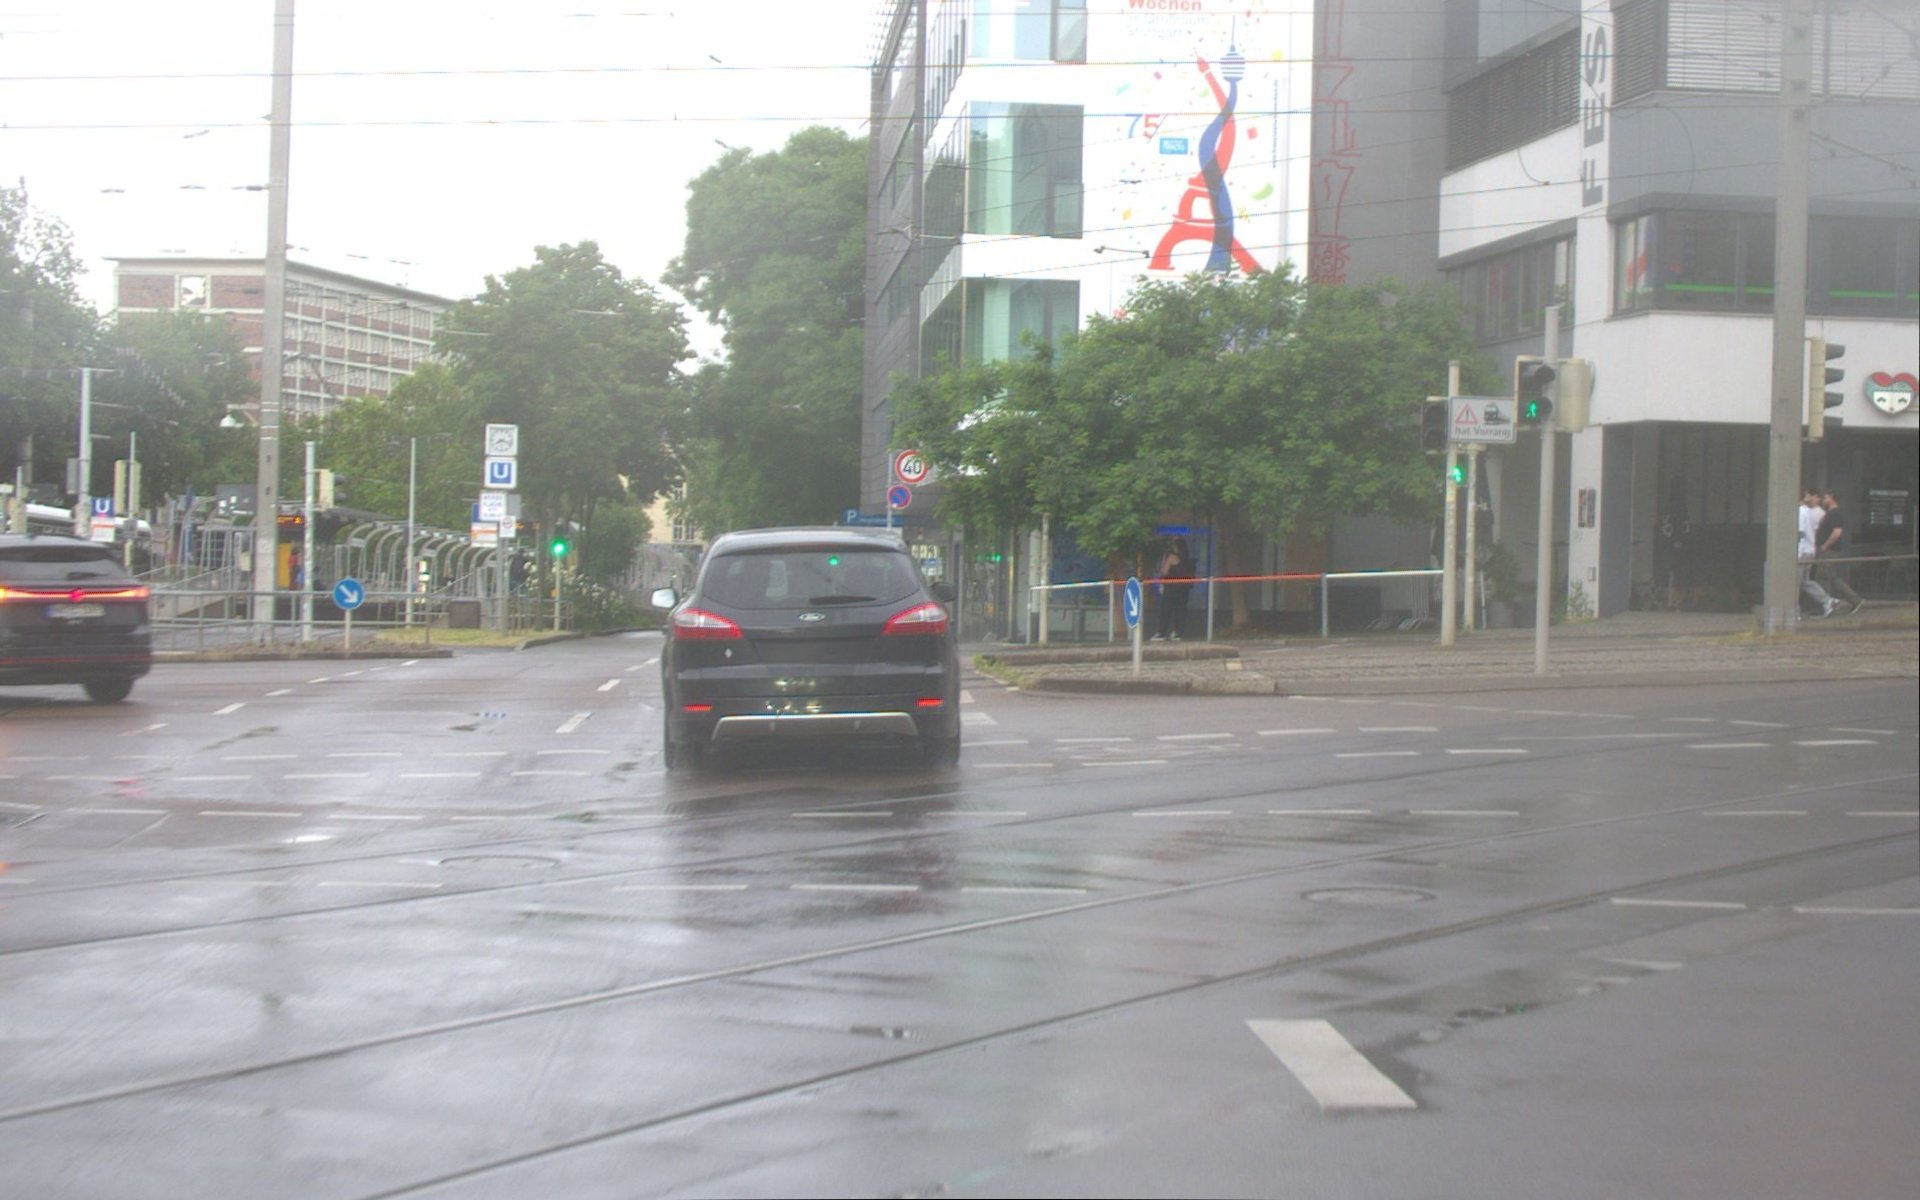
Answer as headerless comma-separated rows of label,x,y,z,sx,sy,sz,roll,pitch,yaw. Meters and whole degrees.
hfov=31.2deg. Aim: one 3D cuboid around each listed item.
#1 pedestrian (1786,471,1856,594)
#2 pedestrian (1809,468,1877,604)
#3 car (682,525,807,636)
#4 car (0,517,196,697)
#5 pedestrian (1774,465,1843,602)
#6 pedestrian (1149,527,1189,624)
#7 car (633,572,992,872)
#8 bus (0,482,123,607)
pedestrian,12.396,-0.979,49.475,0.719,1.755,0.696,1,2,42
pedestrian,12.509,-0.916,48.695,0.718,1.907,0.696,1,2,35
car,-3.861,-0.381,62.176,2.036,1.833,4.393,1,2,-1
car,-8.974,0.003,31.130,2.099,1.500,4.730,-1,2,-39
pedestrian,11.885,-0.936,48.139,0.718,1.907,0.696,1,2,35
pedestrian,3.389,-0.403,55.722,0.542,1.558,0.521,0,1,17
car,-0.961,0.690,22.043,2.035,1.579,4.393,1,2,-3
bus,-26.458,-1.637,97.162,3.076,3.289,12.525,0,2,-2
